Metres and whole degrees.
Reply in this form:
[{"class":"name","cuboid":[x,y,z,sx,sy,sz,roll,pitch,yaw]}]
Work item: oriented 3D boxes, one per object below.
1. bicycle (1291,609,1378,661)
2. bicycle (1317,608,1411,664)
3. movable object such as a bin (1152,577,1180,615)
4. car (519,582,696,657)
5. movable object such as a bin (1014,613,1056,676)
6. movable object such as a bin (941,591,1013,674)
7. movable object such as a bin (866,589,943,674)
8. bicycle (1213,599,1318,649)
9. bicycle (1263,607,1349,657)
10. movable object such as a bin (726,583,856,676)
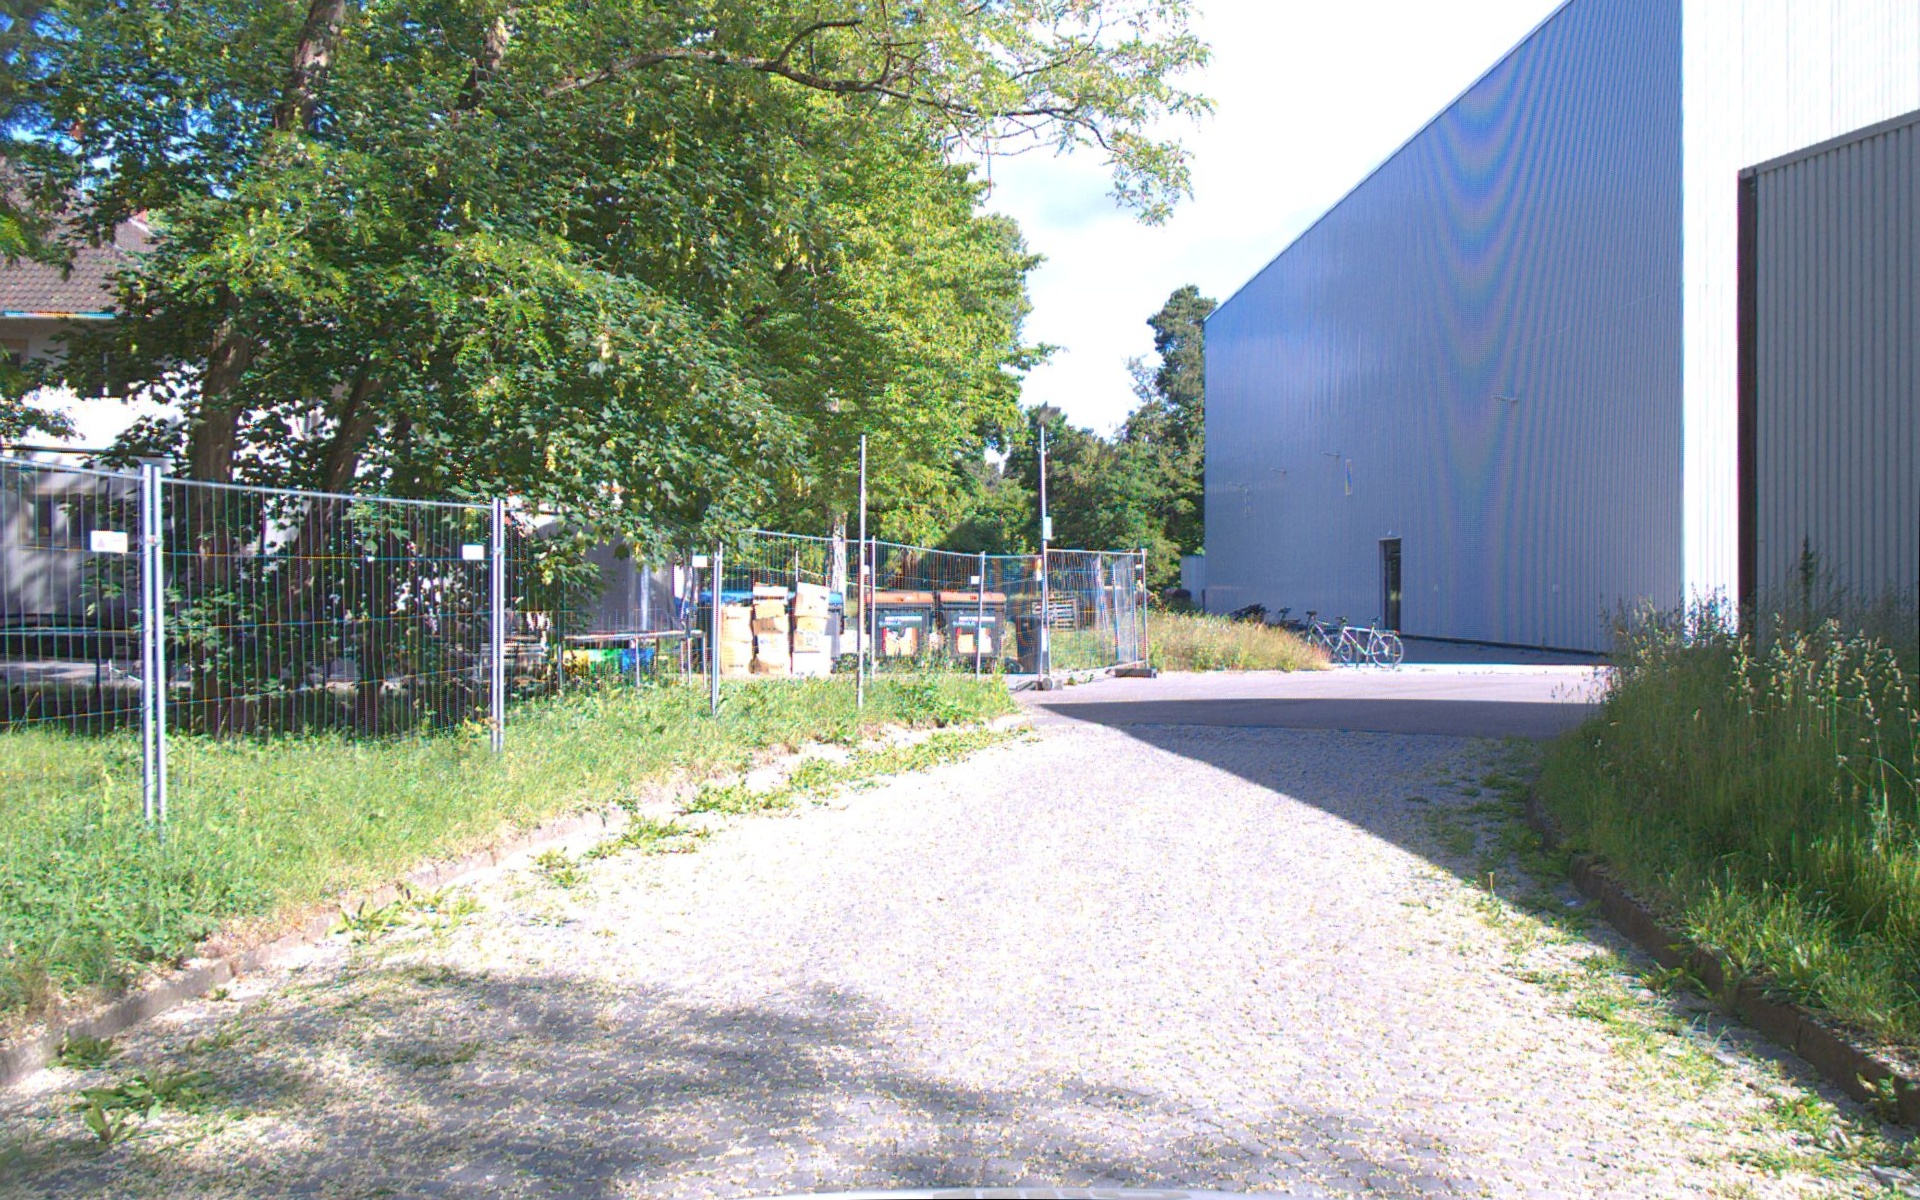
[{"class":"bicycle","cuboid":[8.055,0.749,35.611,1.755,1.101,0.524,0,0,-1]},{"class":"bicycle","cuboid":[8.066,0.710,33.039,1.765,1.080,0.458,0,0,-8]},{"class":"movable object such as a bin","cuboid":[11.199,-0.236,89.900,1.389,2.049,1.125,0,0,2]},{"class":"car","cuboid":[-9.787,0.537,46.278,4.620,1.935,1.997,-2,0,-7]},{"class":"movable object such as a bin","cuboid":[1.344,0.795,29.808,0.721,1.116,0.819,0,0,1]},{"class":"movable object such as a bin","cuboid":[0.304,0.575,29.891,1.221,1.470,0.701,0,0,-8]},{"class":"movable object such as a bin","cuboid":[-1.005,0.554,29.789,1.312,1.510,0.805,0,0,-9]},{"class":"bicycle","cuboid":[8.065,0.623,43.794,2.576,1.288,1.141,0,0,2]},{"class":"bicycle","cuboid":[7.974,0.732,38.162,1.850,1.114,0.525,0,-1,-4]},{"class":"movable object such as a bin","cuboid":[-3.020,0.507,29.393,2.245,1.619,1.172,0,0,-9]}]
